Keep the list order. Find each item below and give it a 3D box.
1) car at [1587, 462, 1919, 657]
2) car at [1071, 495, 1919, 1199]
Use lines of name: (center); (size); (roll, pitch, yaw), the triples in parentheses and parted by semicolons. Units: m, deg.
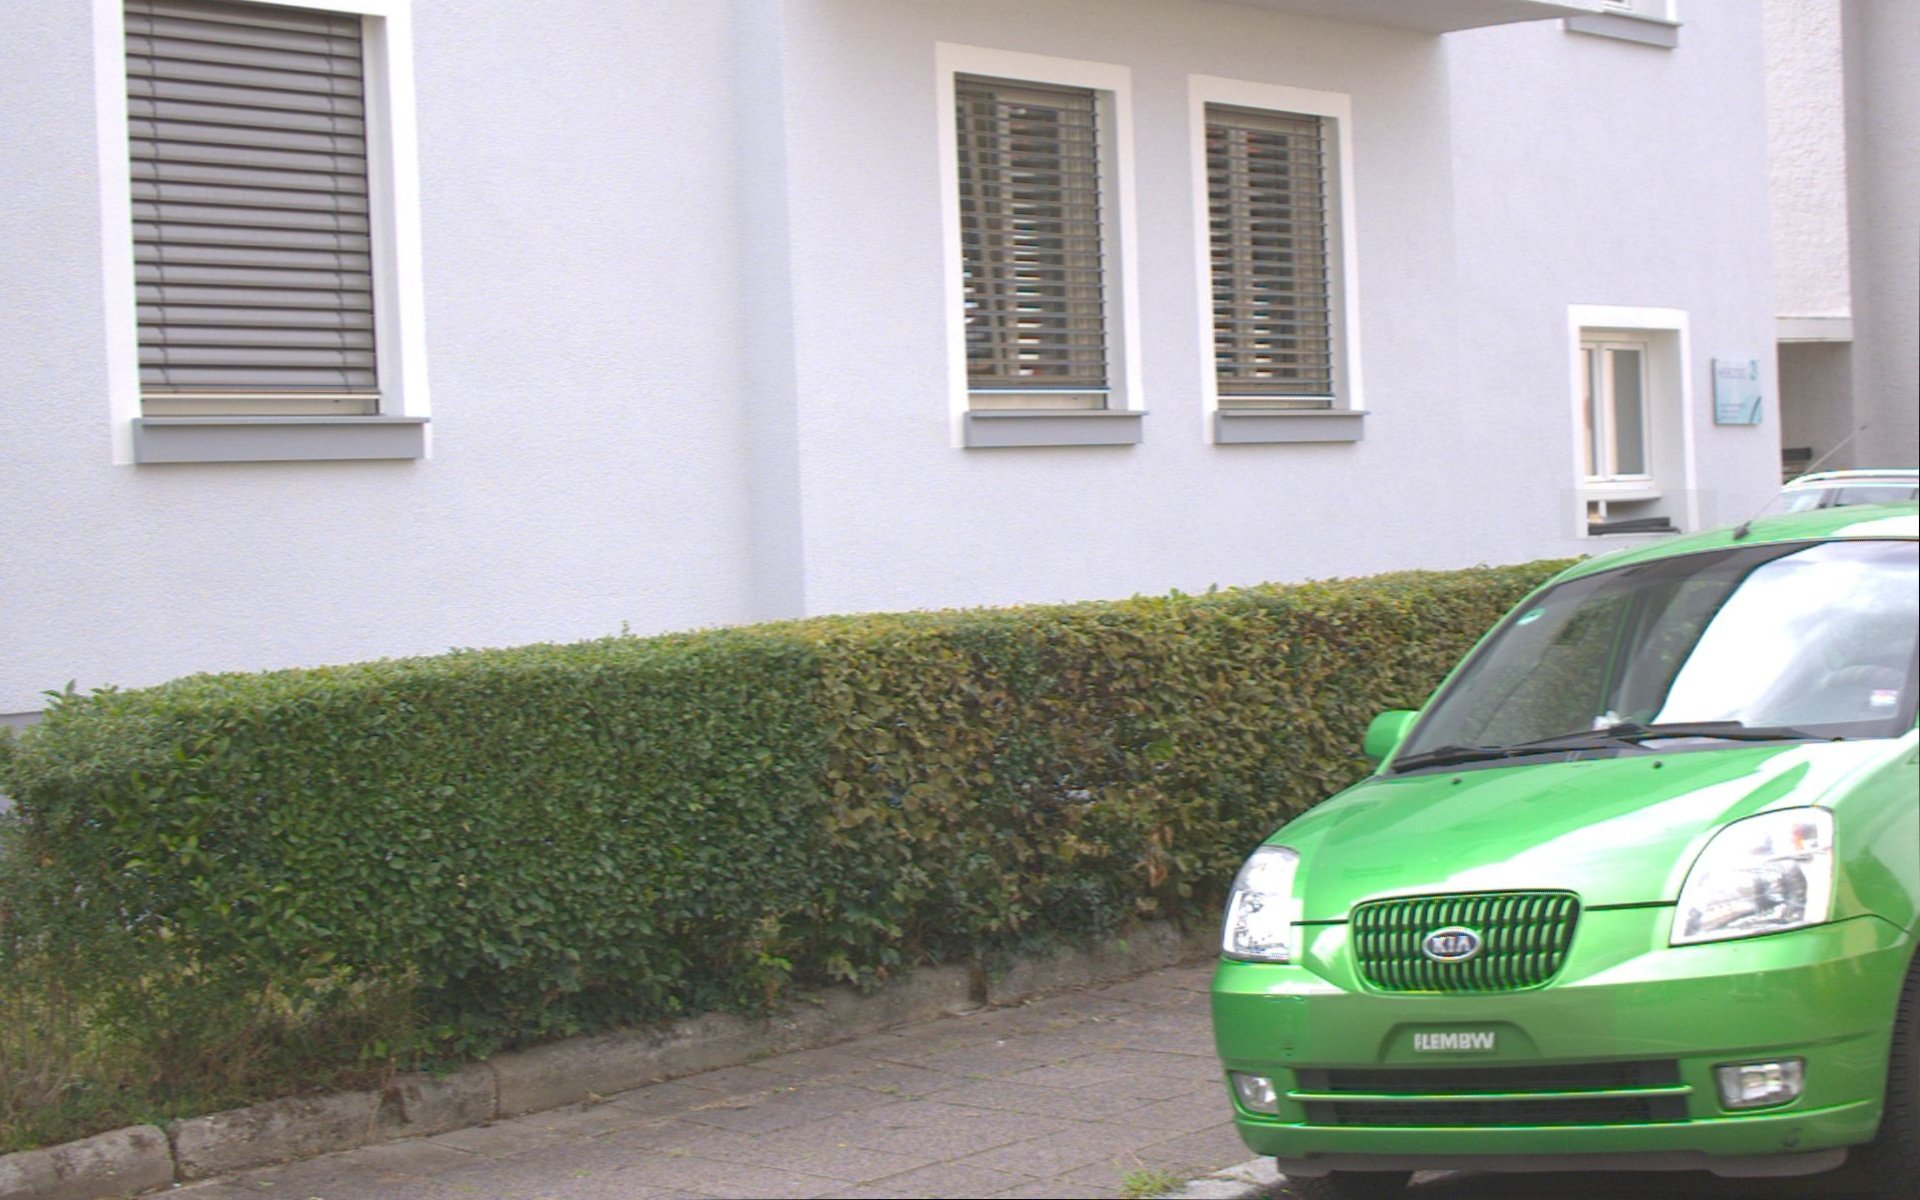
car: (7.230, -0.338, 27.094); (3.996, 1.459, 1.996); (-1, 2, 40)
car: (2.005, 0.508, 8.227); (1.649, 1.417, 3.474); (-5, -1, 38)
